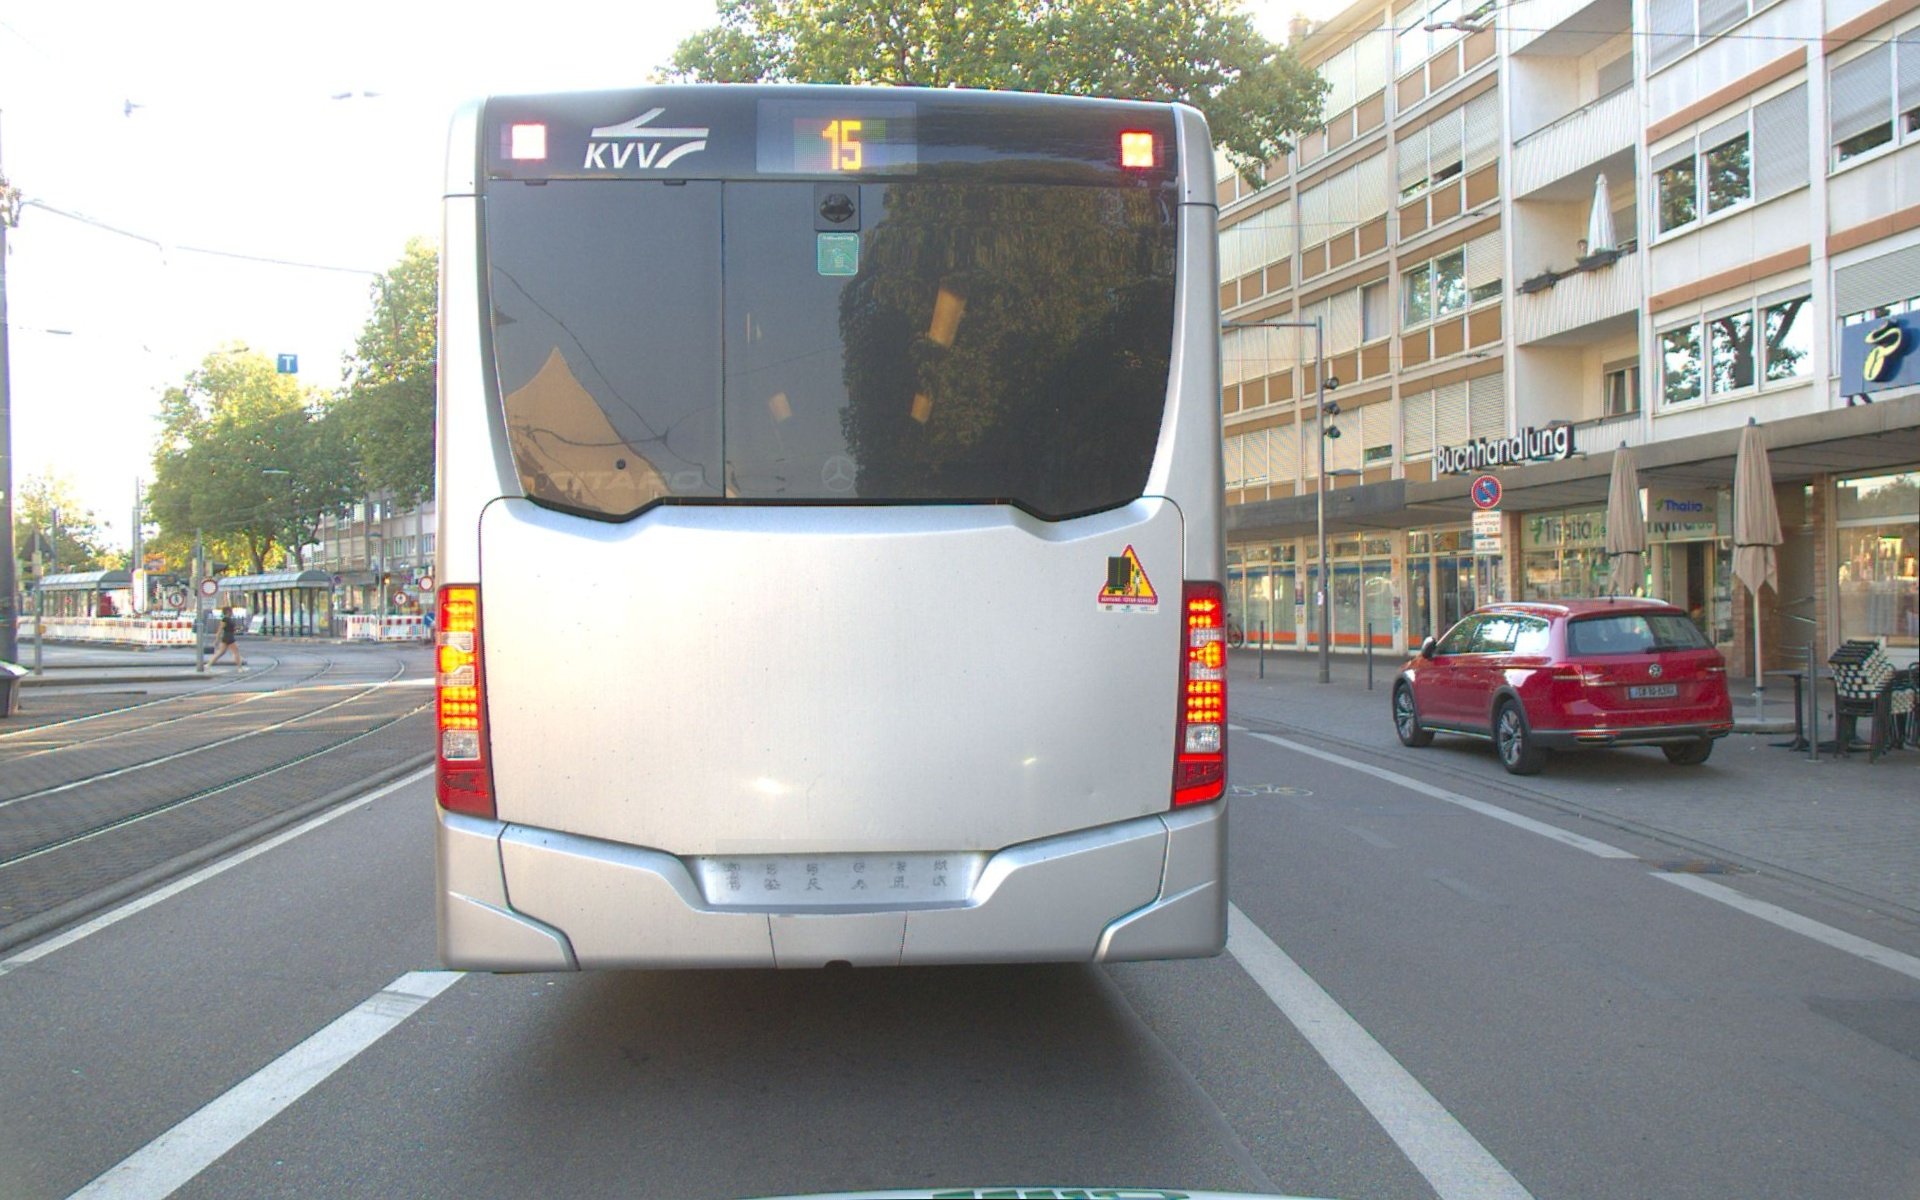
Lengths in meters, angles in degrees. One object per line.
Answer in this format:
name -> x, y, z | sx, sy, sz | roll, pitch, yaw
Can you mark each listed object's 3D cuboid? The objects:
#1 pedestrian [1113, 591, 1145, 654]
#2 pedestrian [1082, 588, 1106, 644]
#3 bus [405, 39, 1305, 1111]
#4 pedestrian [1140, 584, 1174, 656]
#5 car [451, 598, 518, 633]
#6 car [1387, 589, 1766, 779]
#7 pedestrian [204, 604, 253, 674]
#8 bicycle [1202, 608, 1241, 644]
pedestrian -> 4.325, 0.571, 42.281 | 0.634, 1.609, 0.557 | -1, 0, -17
pedestrian -> 4.117, 0.493, 50.728 | 0.527, 1.677, 0.612 | -1, 0, -18
bus -> -0.372, -0.054, 9.781 | 2.577, 3.081, 9.995 | 0, 0, -1
pedestrian -> 4.818, 0.488, 40.556 | 0.634, 1.747, 0.557 | -1, 0, -17
car -> -25.258, 0.824, 87.783 | 1.982, 1.823, 3.940 | 1, -1, -41
car -> 5.706, 0.701, 15.946 | 1.735, 1.508, 4.299 | -2, 0, -4
pedestrian -> -18.038, 0.956, 40.784 | 0.977, 1.716, 0.642 | 0, -2, -12
bicycle -> 7.210, 0.715, 45.608 | 0.406, 0.961, 1.431 | -1, 0, -20
